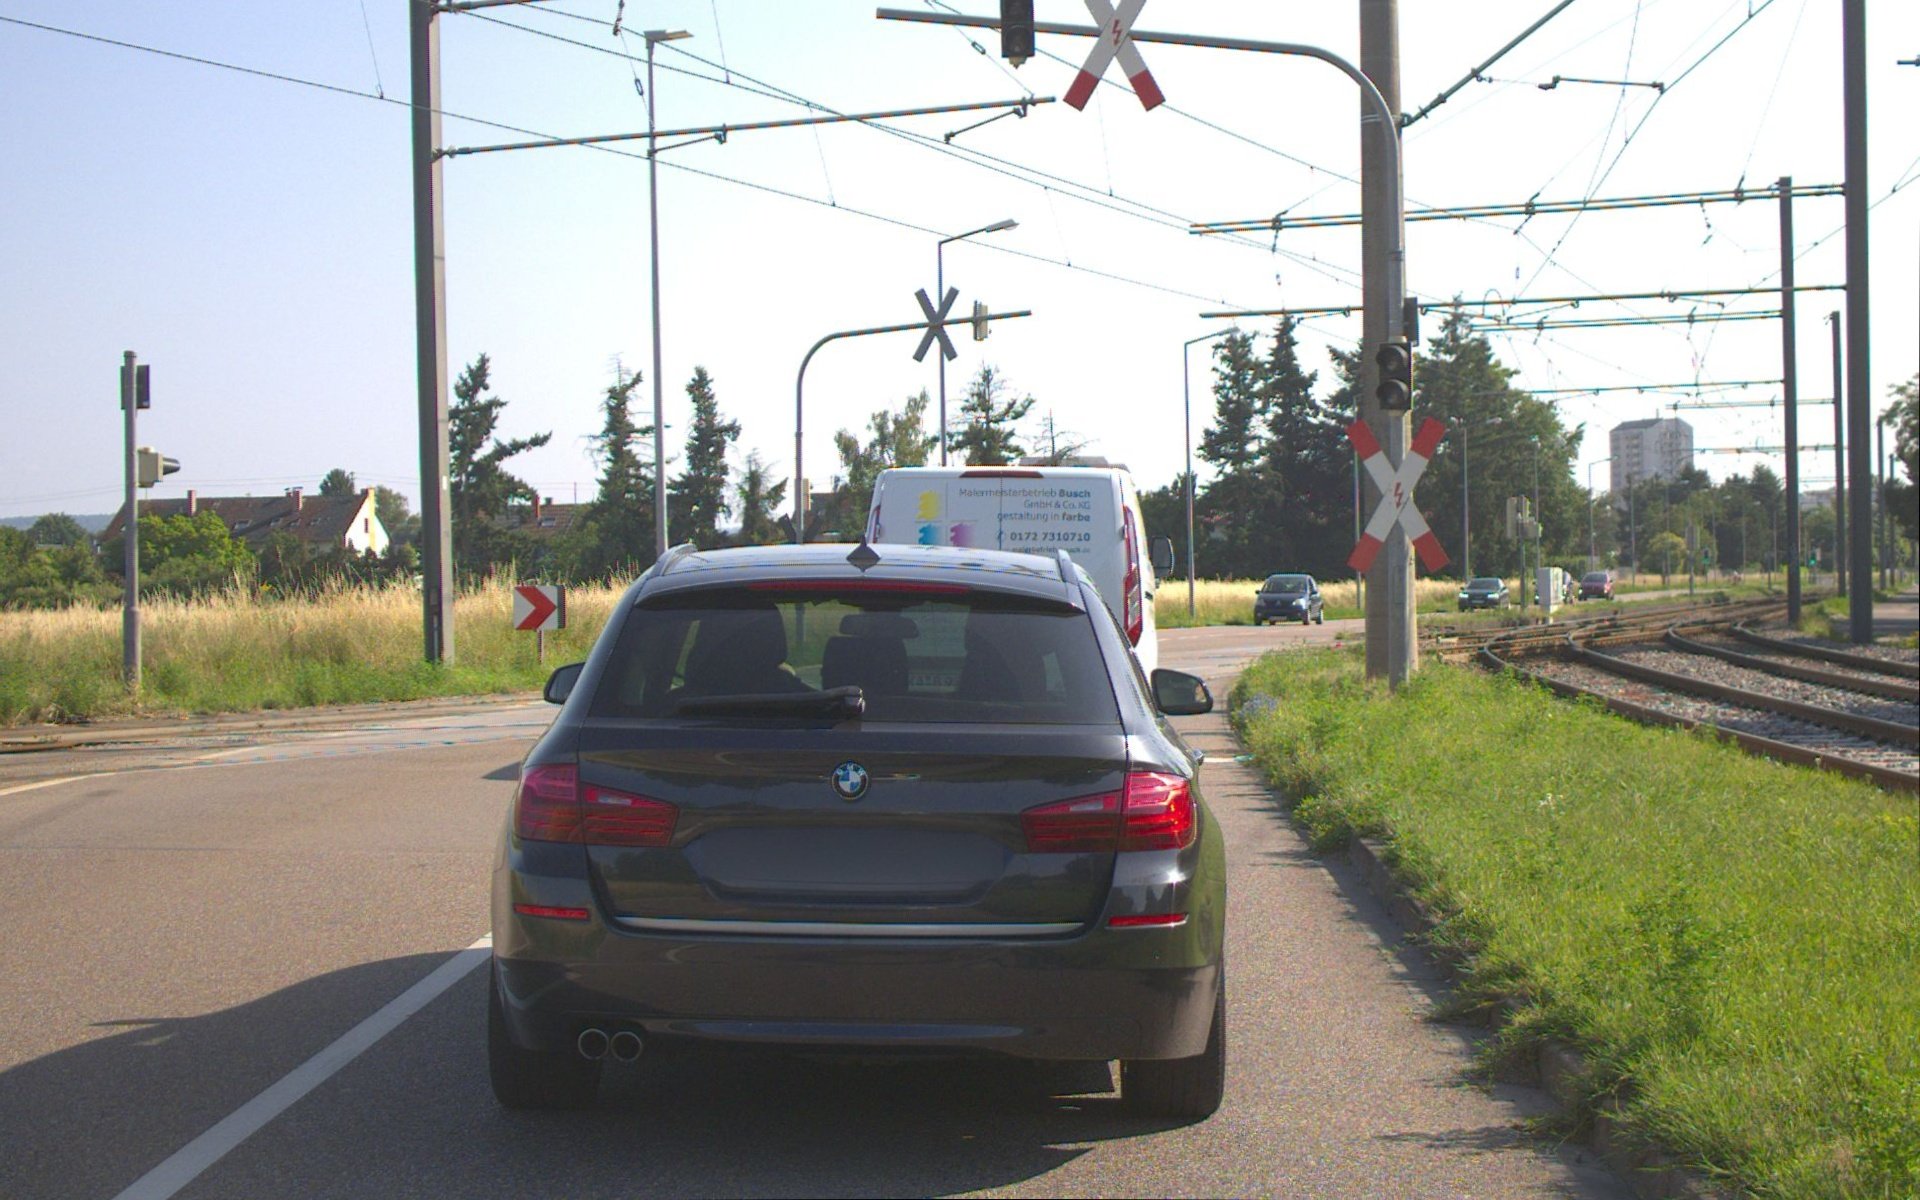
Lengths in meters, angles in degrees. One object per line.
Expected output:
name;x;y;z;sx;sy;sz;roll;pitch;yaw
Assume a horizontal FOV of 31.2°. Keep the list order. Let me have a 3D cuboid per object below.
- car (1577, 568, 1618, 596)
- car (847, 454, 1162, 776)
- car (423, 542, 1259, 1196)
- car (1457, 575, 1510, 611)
car;35.172;-1.011;189.615;1.714;1.544;3.925;0;1;19
car;0.420;0.057;23.771;1.858;1.981;5.107;0;1;4
car;-0.301;0.565;10.071;1.869;1.447;4.744;0;1;-1
car;22.141;-0.307;145.319;1.694;1.435;4.280;1;1;15
